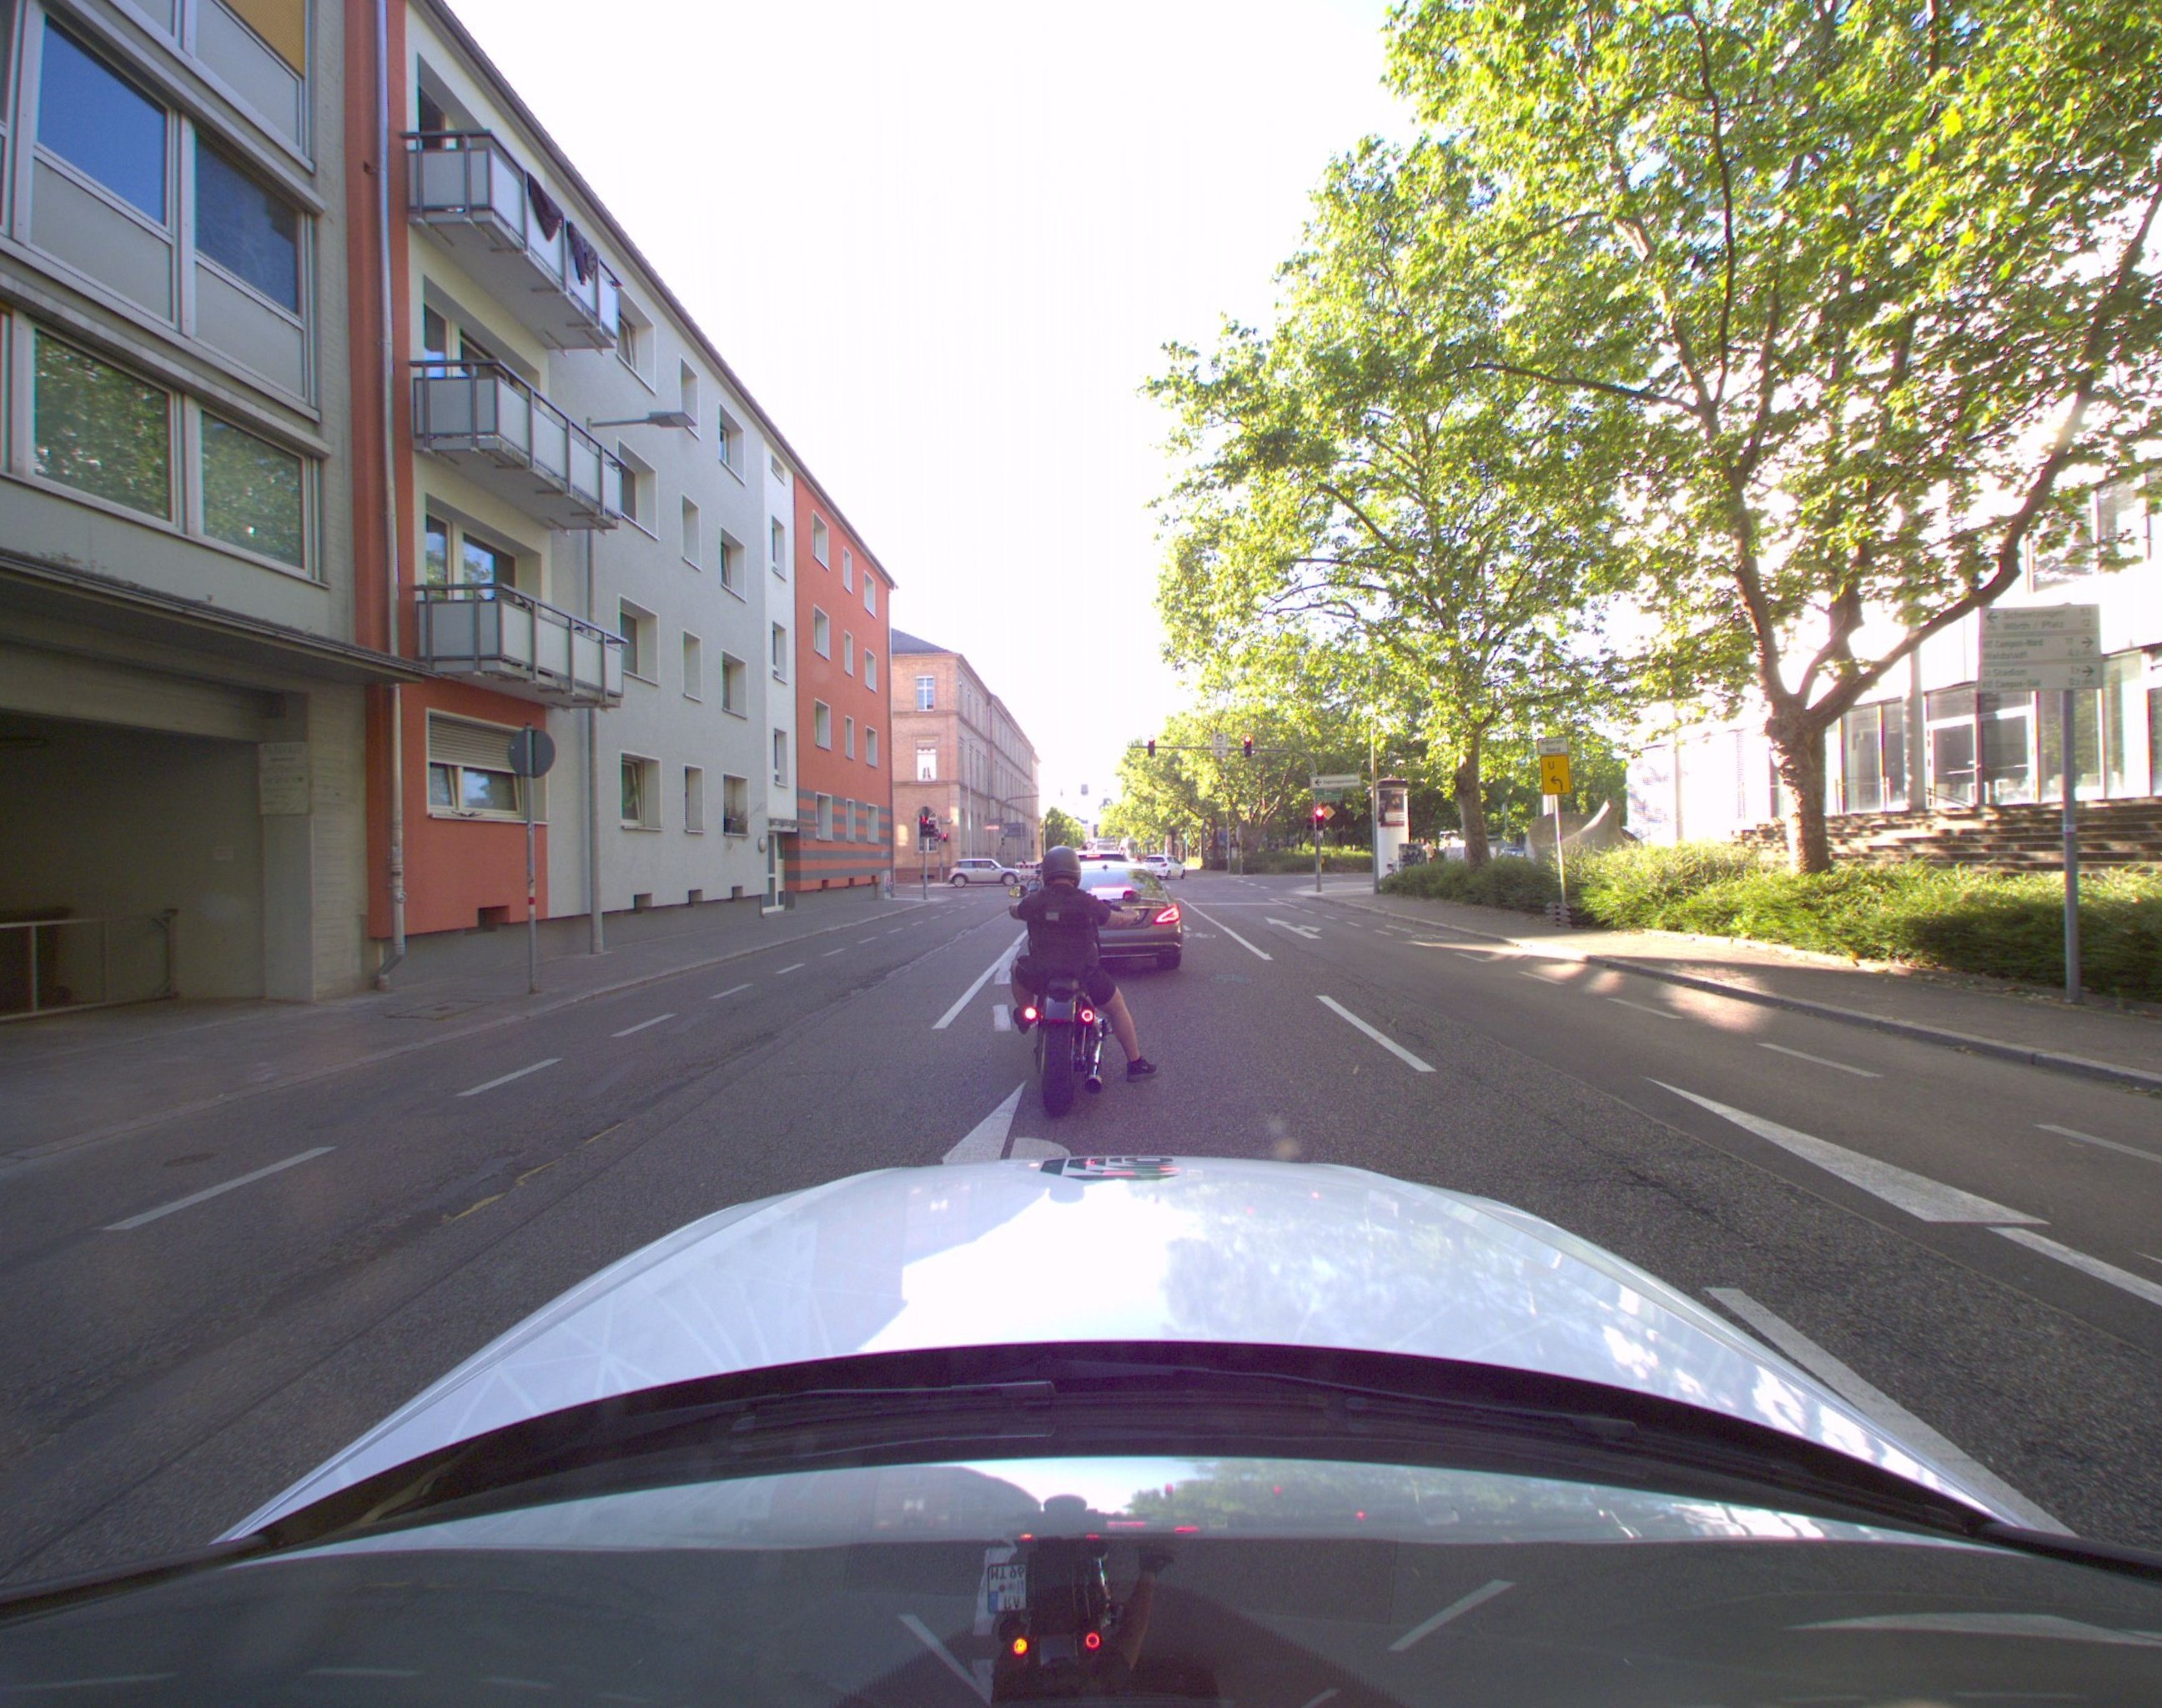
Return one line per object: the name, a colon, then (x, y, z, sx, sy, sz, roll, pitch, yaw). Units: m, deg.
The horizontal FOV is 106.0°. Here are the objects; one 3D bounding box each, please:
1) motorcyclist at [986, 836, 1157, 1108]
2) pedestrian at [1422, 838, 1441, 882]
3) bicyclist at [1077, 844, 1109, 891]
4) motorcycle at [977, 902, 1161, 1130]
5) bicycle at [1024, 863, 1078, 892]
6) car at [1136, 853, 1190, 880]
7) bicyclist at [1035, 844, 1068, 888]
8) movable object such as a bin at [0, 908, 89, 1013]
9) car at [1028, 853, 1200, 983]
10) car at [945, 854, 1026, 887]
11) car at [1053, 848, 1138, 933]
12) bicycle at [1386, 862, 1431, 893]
motorcyclist: (-0.035, 0.701, 5.532, 0.986, 1.597, 1.404, -1, 0, 2)
pedestrian: (14.963, 0.243, 34.750, 0.549, 1.849, 0.594, -1, 0, 3)
bicyclist: (0.440, 0.505, 30.144, 0.709, 1.692, 0.953, -1, 0, -44)
motorcycle: (-0.027, 0.960, 5.685, 0.986, 1.078, 2.453, -1, 0, 2)
bicycle: (-1.194, 0.951, 32.408, 2.135, 1.103, 0.710, -3, -1, 36)
car: (4.868, 0.724, 47.891, 1.838, 1.486, 3.932, -1, -1, 28)
bicyclist: (-1.186, 0.476, 32.391, 1.034, 1.695, 0.710, -3, -1, 36)
movable object such as a bin: (-11.315, 1.115, 8.687, 0.593, 1.041, 0.703, 0, -1, 1)
car: (0.258, 0.744, 11.723, 1.943, 1.473, 4.355, -1, 0, -5)
car: (-4.893, 0.812, 41.442, 3.898, 1.481, 1.820, -2, 0, -12)
car: (0.322, 0.708, 17.893, 1.606, 1.607, 4.329, -1, 0, 1)
bicycle: (11.036, 0.795, 27.419, 1.346, 1.023, 0.363, -1, 0, 2)
